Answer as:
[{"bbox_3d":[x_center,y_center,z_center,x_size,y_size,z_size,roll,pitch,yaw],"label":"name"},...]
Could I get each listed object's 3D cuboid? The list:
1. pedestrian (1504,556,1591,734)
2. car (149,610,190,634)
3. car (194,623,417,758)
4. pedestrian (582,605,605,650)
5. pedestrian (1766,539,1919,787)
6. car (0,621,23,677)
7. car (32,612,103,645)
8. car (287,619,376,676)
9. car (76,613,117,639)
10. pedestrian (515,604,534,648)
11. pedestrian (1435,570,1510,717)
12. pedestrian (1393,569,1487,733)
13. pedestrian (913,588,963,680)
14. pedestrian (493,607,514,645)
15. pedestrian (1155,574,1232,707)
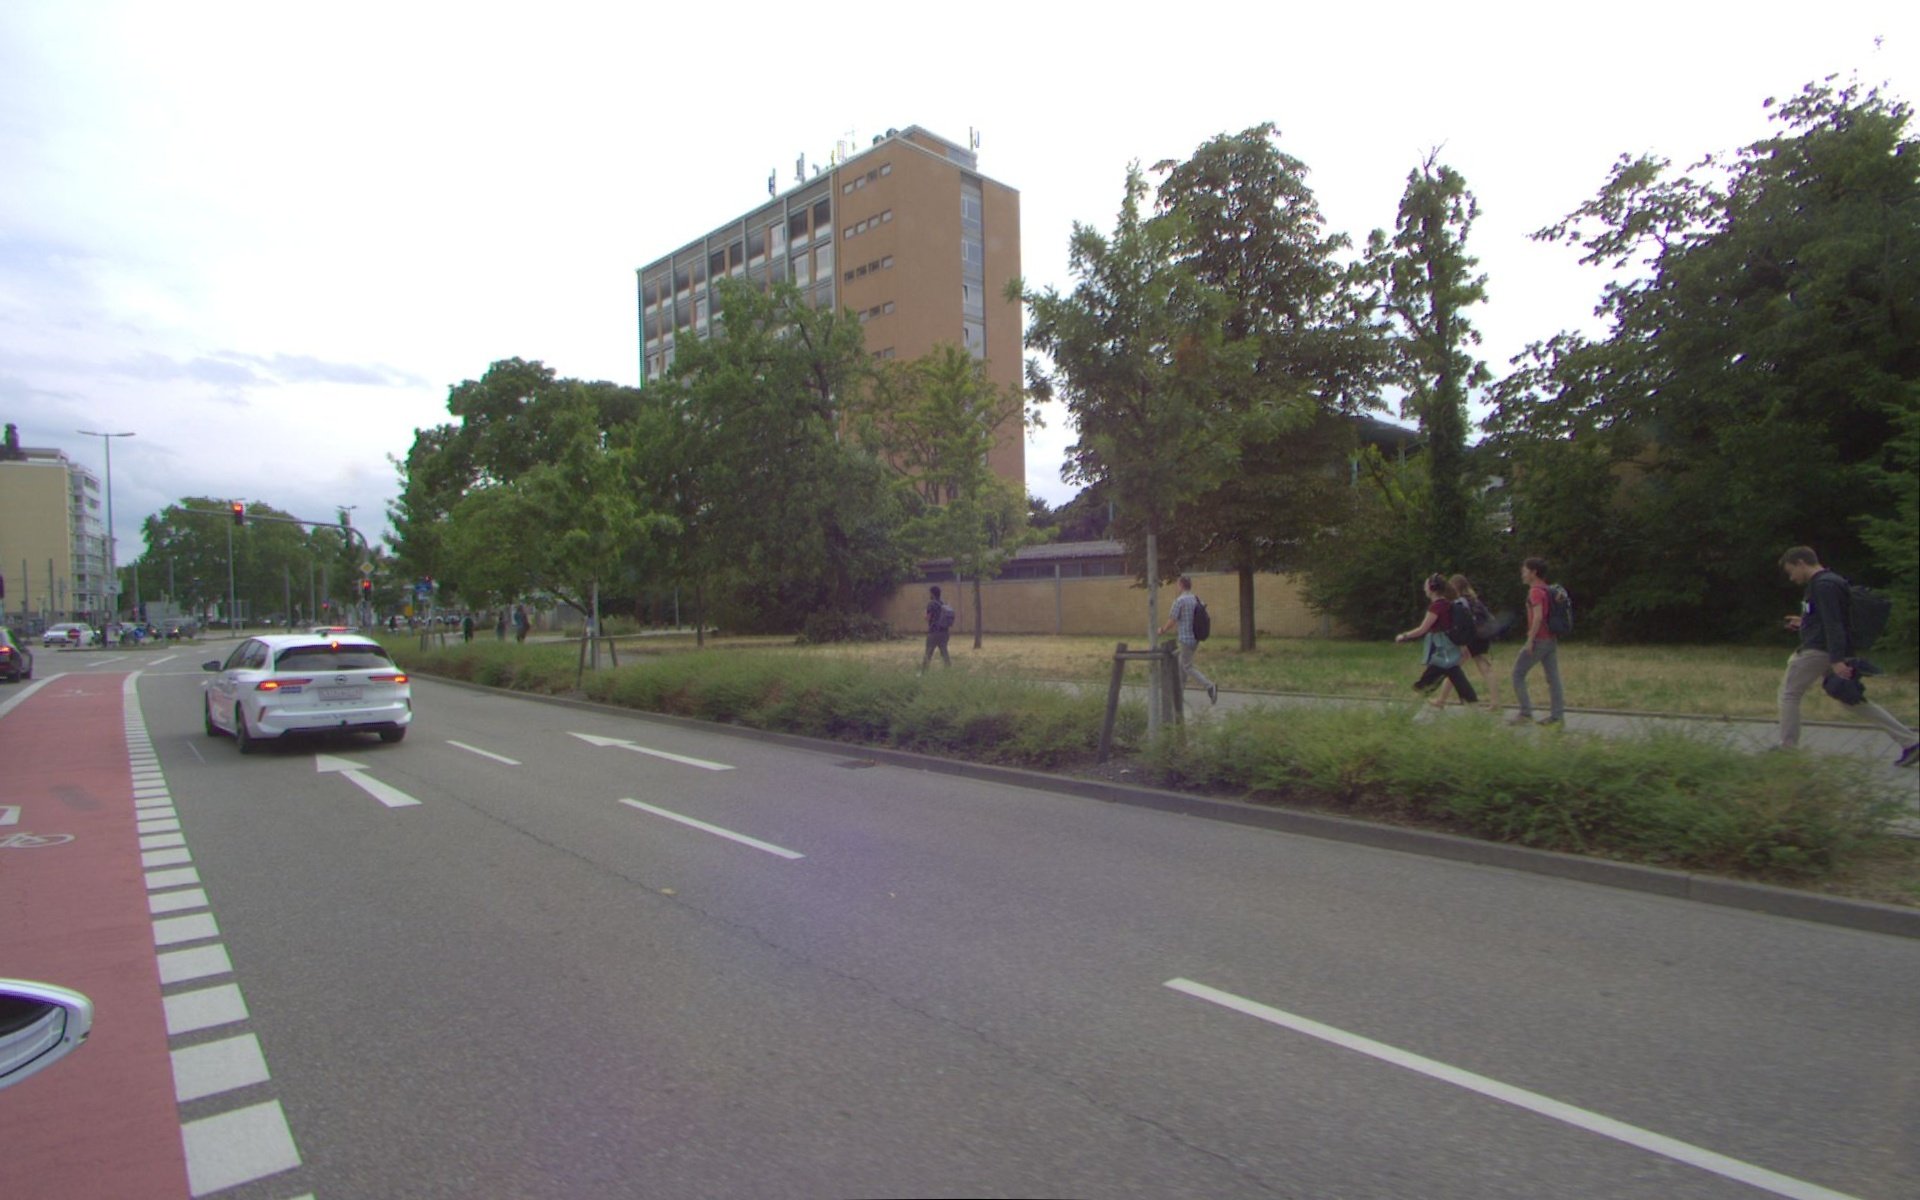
[{"bbox_3d":[6.148,0.455,10.483,0.480,1.787,0.658,-2,1,-40],"label":"pedestrian"},{"bbox_3d":[-71.959,1.964,91.210,1.968,2.040,3.986,-1,0,-24],"label":"car"},{"bbox_3d":[-9.034,1.079,13.632,1.728,1.458,4.737,-1,0,-43],"label":"car"},{"bbox_3d":[-12.530,0.935,34.228,0.648,1.490,0.559,-1,1,-24],"label":"pedestrian"},{"bbox_3d":[7.103,0.471,7.988,0.687,1.845,0.946,-2,1,-40],"label":"pedestrian"},{"bbox_3d":[-26.118,1.278,26.679,1.643,1.415,3.823,-1,0,-43],"label":"car"},{"bbox_3d":[-63.156,1.967,71.005,2.554,2.137,5.572,-1,0,-30],"label":"car"},{"bbox_3d":[-18.167,1.320,28.880,1.710,1.476,3.705,-1,0,-39],"label":"car"},{"bbox_3d":[-67.658,2.007,78.515,1.787,1.875,3.977,-1,0,-32],"label":"car"},{"bbox_3d":[-17.202,1.023,39.554,0.638,1.736,0.559,-1,1,-26],"label":"pedestrian"},{"bbox_3d":[5.979,0.493,11.685,0.464,1.655,0.647,-2,1,-40],"label":"pedestrian"},{"bbox_3d":[5.144,0.525,10.739,0.551,1.677,0.747,-2,1,-40],"label":"pedestrian"},{"bbox_3d":[-0.424,0.633,19.001,0.582,1.705,0.742,-2,1,-40],"label":"pedestrian"},{"bbox_3d":[-20.951,1.192,45.971,0.792,1.736,0.761,-1,1,-28],"label":"pedestrian"},{"bbox_3d":[3.208,0.536,13.776,0.614,1.758,0.807,-2,1,-40],"label":"pedestrian"}]
